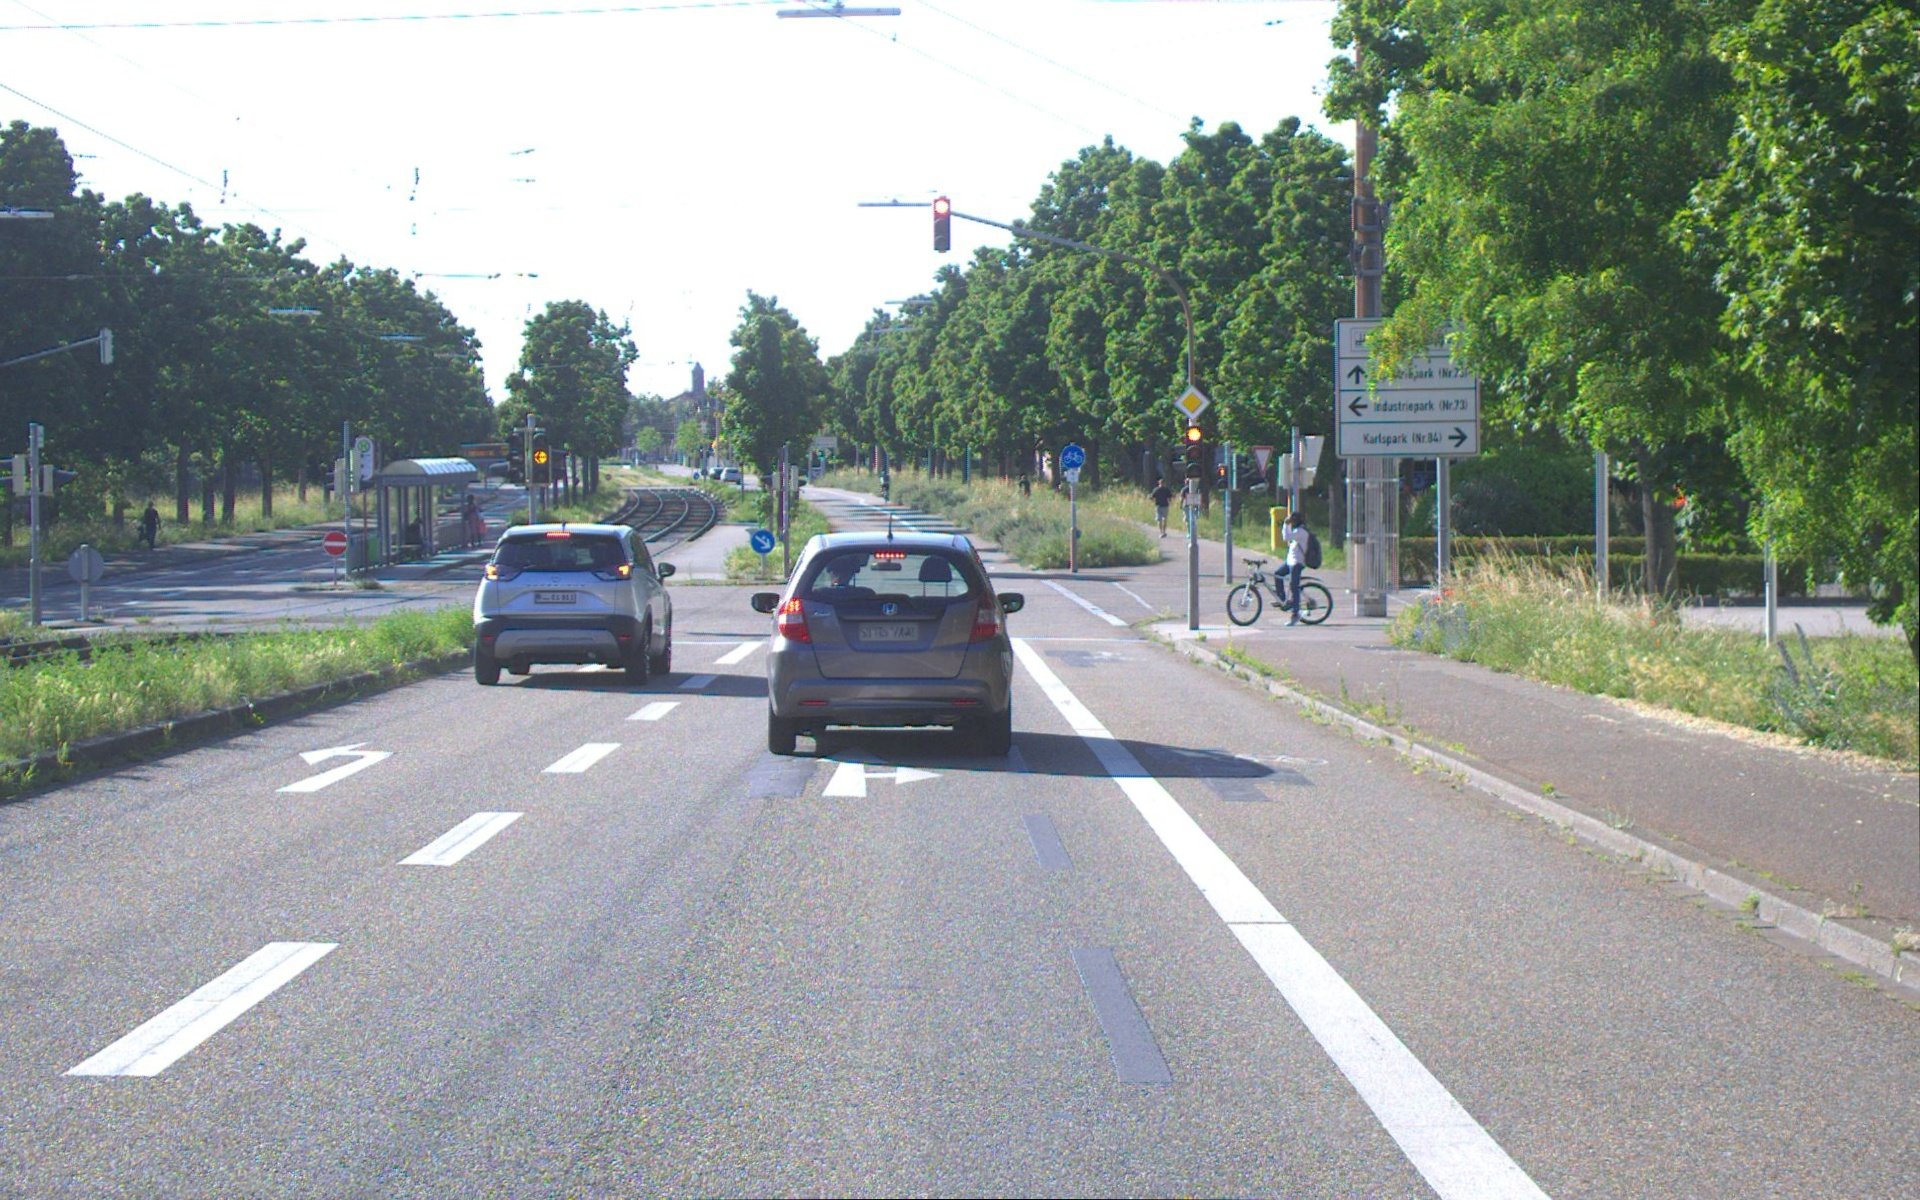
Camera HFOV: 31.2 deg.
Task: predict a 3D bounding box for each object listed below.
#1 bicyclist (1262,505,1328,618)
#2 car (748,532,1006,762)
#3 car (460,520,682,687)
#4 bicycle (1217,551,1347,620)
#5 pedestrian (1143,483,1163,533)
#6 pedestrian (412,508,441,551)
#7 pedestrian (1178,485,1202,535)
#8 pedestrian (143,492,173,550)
[{"bbox_3d":[5.265,-0.603,54.018,0.910,1.739,0.764,-2,1,11],"label":"bicyclist"},{"bbox_3d":[-0.539,0.274,24.777,1.707,1.503,4.000,0,1,0],"label":"car"},{"bbox_3d":[-3.938,-0.014,35.409,1.850,1.601,4.255,0,1,-1],"label":"car"},{"bbox_3d":[5.069,-0.228,54.066,1.921,0.994,0.764,-2,1,11],"label":"bicycle"},{"bbox_3d":[6.212,-2.966,110.584,0.567,1.591,0.666,1,1,-4],"label":"pedestrian"},{"bbox_3d":[-15.584,-2.062,100.387,0.721,1.241,0.711,-1,2,-2],"label":"pedestrian"},{"bbox_3d":[7.412,-2.886,110.761,0.678,1.604,0.721,1,1,-2],"label":"pedestrian"},{"bbox_3d":[-27.908,-2.754,119.626,0.839,2.006,0.863,0,1,-2],"label":"pedestrian"}]
